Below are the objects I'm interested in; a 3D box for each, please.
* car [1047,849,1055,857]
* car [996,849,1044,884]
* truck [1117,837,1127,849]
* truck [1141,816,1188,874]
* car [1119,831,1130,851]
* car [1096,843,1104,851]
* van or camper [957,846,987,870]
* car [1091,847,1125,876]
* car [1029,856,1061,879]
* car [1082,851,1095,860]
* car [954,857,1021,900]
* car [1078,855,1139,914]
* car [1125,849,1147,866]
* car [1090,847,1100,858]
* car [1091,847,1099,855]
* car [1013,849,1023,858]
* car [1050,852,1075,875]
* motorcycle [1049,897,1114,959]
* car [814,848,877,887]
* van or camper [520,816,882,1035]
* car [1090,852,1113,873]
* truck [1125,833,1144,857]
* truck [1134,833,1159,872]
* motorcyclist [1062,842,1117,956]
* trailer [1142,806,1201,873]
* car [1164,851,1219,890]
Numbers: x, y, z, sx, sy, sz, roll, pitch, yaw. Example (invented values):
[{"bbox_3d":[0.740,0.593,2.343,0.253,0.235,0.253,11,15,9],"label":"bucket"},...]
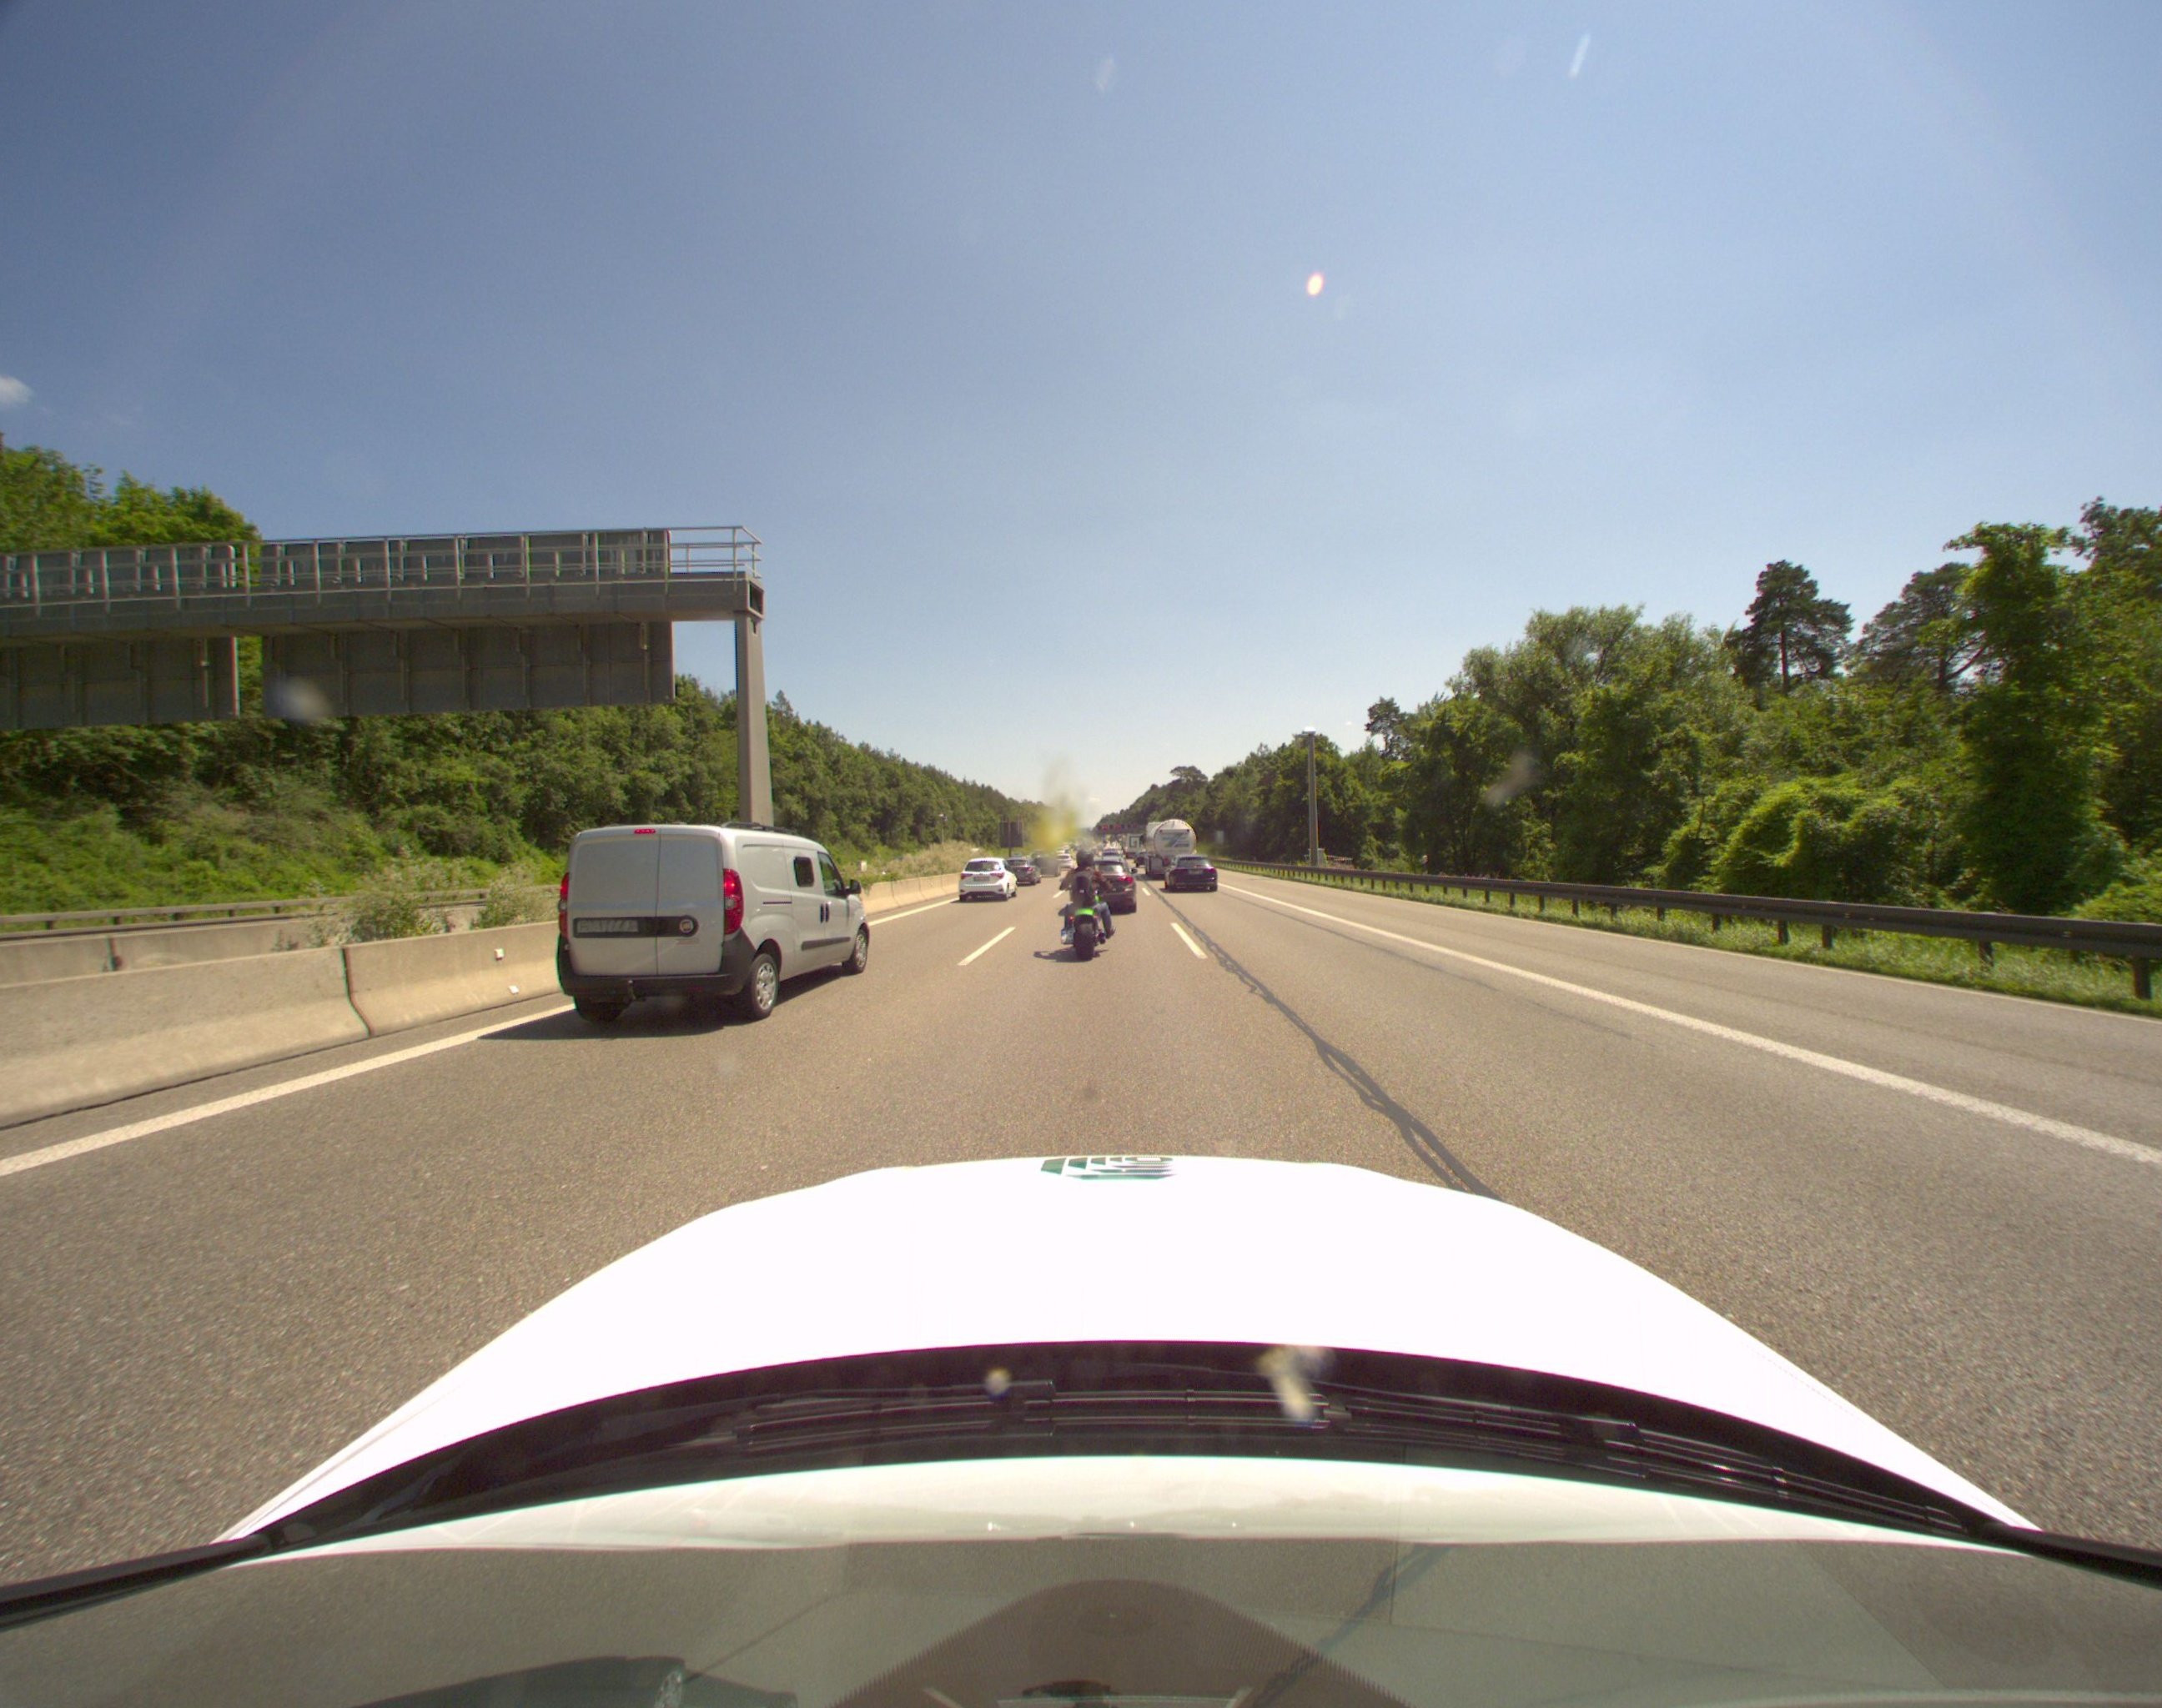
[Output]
[{"bbox_3d":[-6.962,-0.193,190.707,1.690,1.813,4.001,-1,0,1],"label":"car"},{"bbox_3d":[-3.110,0.658,42.211,1.986,1.684,4.332,-1,-1,2],"label":"car"},{"bbox_3d":[12.314,-3.295,245.914,2.686,3.405,10.483,-2,-1,2],"label":"truck"},{"bbox_3d":[5.612,-0.516,55.750,2.817,3.671,6.432,-1,-1,2],"label":"truck"},{"bbox_3d":[9.221,-2.753,172.521,2.159,3.893,9.334,-1,-1,2],"label":"car"},{"bbox_3d":[5.226,-1.966,224.481,1.986,2.014,4.002,-2,-1,2],"label":"car"},{"bbox_3d":[-11.782,0.455,88.209,2.143,2.423,6.199,-1,-1,2],"label":"van or camper"},{"bbox_3d":[1.653,0.483,49.756,1.986,1.711,4.001,-1,-1,1],"label":"car"},{"bbox_3d":[-2.394,0.931,55.362,1.987,1.464,3.998,-1,-1,0],"label":"car"},{"bbox_3d":[1.180,0.190,127.301,1.756,1.442,4.003,0,0,3],"label":"car"},{"bbox_3d":[-3.304,0.837,29.386,1.769,1.411,4.002,-1,0,2],"label":"car"},{"bbox_3d":[0.773,0.782,22.477,1.535,1.450,4.002,-1,-1,2],"label":"car"},{"bbox_3d":[5.289,0.333,78.901,1.770,1.527,3.998,-1,-1,-1],"label":"car"},{"bbox_3d":[2.461,-0.241,145.167,1.654,1.978,4.003,-1,-1,3],"label":"car"},{"bbox_3d":[2.880,-0.556,167.139,1.654,1.599,4.003,-1,-1,3],"label":"car"},{"bbox_3d":[-14.622,-0.109,188.612,1.986,2.013,4.001,-1,0,1],"label":"car"},{"bbox_3d":[-1.632,0.910,73.954,1.986,2.014,4.001,-1,-1,2],"label":"car"},{"bbox_3d":[0.056,1.127,12.899,0.932,0.793,2.300,-1,-1,2],"label":"motorcycle"},{"bbox_3d":[-12.918,0.732,44.909,1.985,2.013,4.275,-1,0,3],"label":"car"},{"bbox_3d":[-3.857,0.615,9.337,1.846,1.880,4.563,-1,0,2],"label":"van or camper"},{"bbox_3d":[1.789,0.790,71.581,1.986,1.775,4.001,-1,-1,1],"label":"car"},{"bbox_3d":[8.868,-1.429,134.219,2.840,3.821,7.197,-1,-1,5],"label":"truck"},{"bbox_3d":[7.827,-0.187,98.381,2.380,4.464,10.872,-1,0,1],"label":"truck"},{"bbox_3d":[0.144,0.676,12.545,0.796,1.688,1.017,-1,-2,2],"label":"motorcyclist"},{"bbox_3d":[5.356,-0.667,50.030,2.817,3.671,10.737,-1,-1,2],"label":"trailer"},{"bbox_3d":[4.433,0.663,33.166,1.785,1.458,4.626,-1,-1,2],"label":"car"}]
